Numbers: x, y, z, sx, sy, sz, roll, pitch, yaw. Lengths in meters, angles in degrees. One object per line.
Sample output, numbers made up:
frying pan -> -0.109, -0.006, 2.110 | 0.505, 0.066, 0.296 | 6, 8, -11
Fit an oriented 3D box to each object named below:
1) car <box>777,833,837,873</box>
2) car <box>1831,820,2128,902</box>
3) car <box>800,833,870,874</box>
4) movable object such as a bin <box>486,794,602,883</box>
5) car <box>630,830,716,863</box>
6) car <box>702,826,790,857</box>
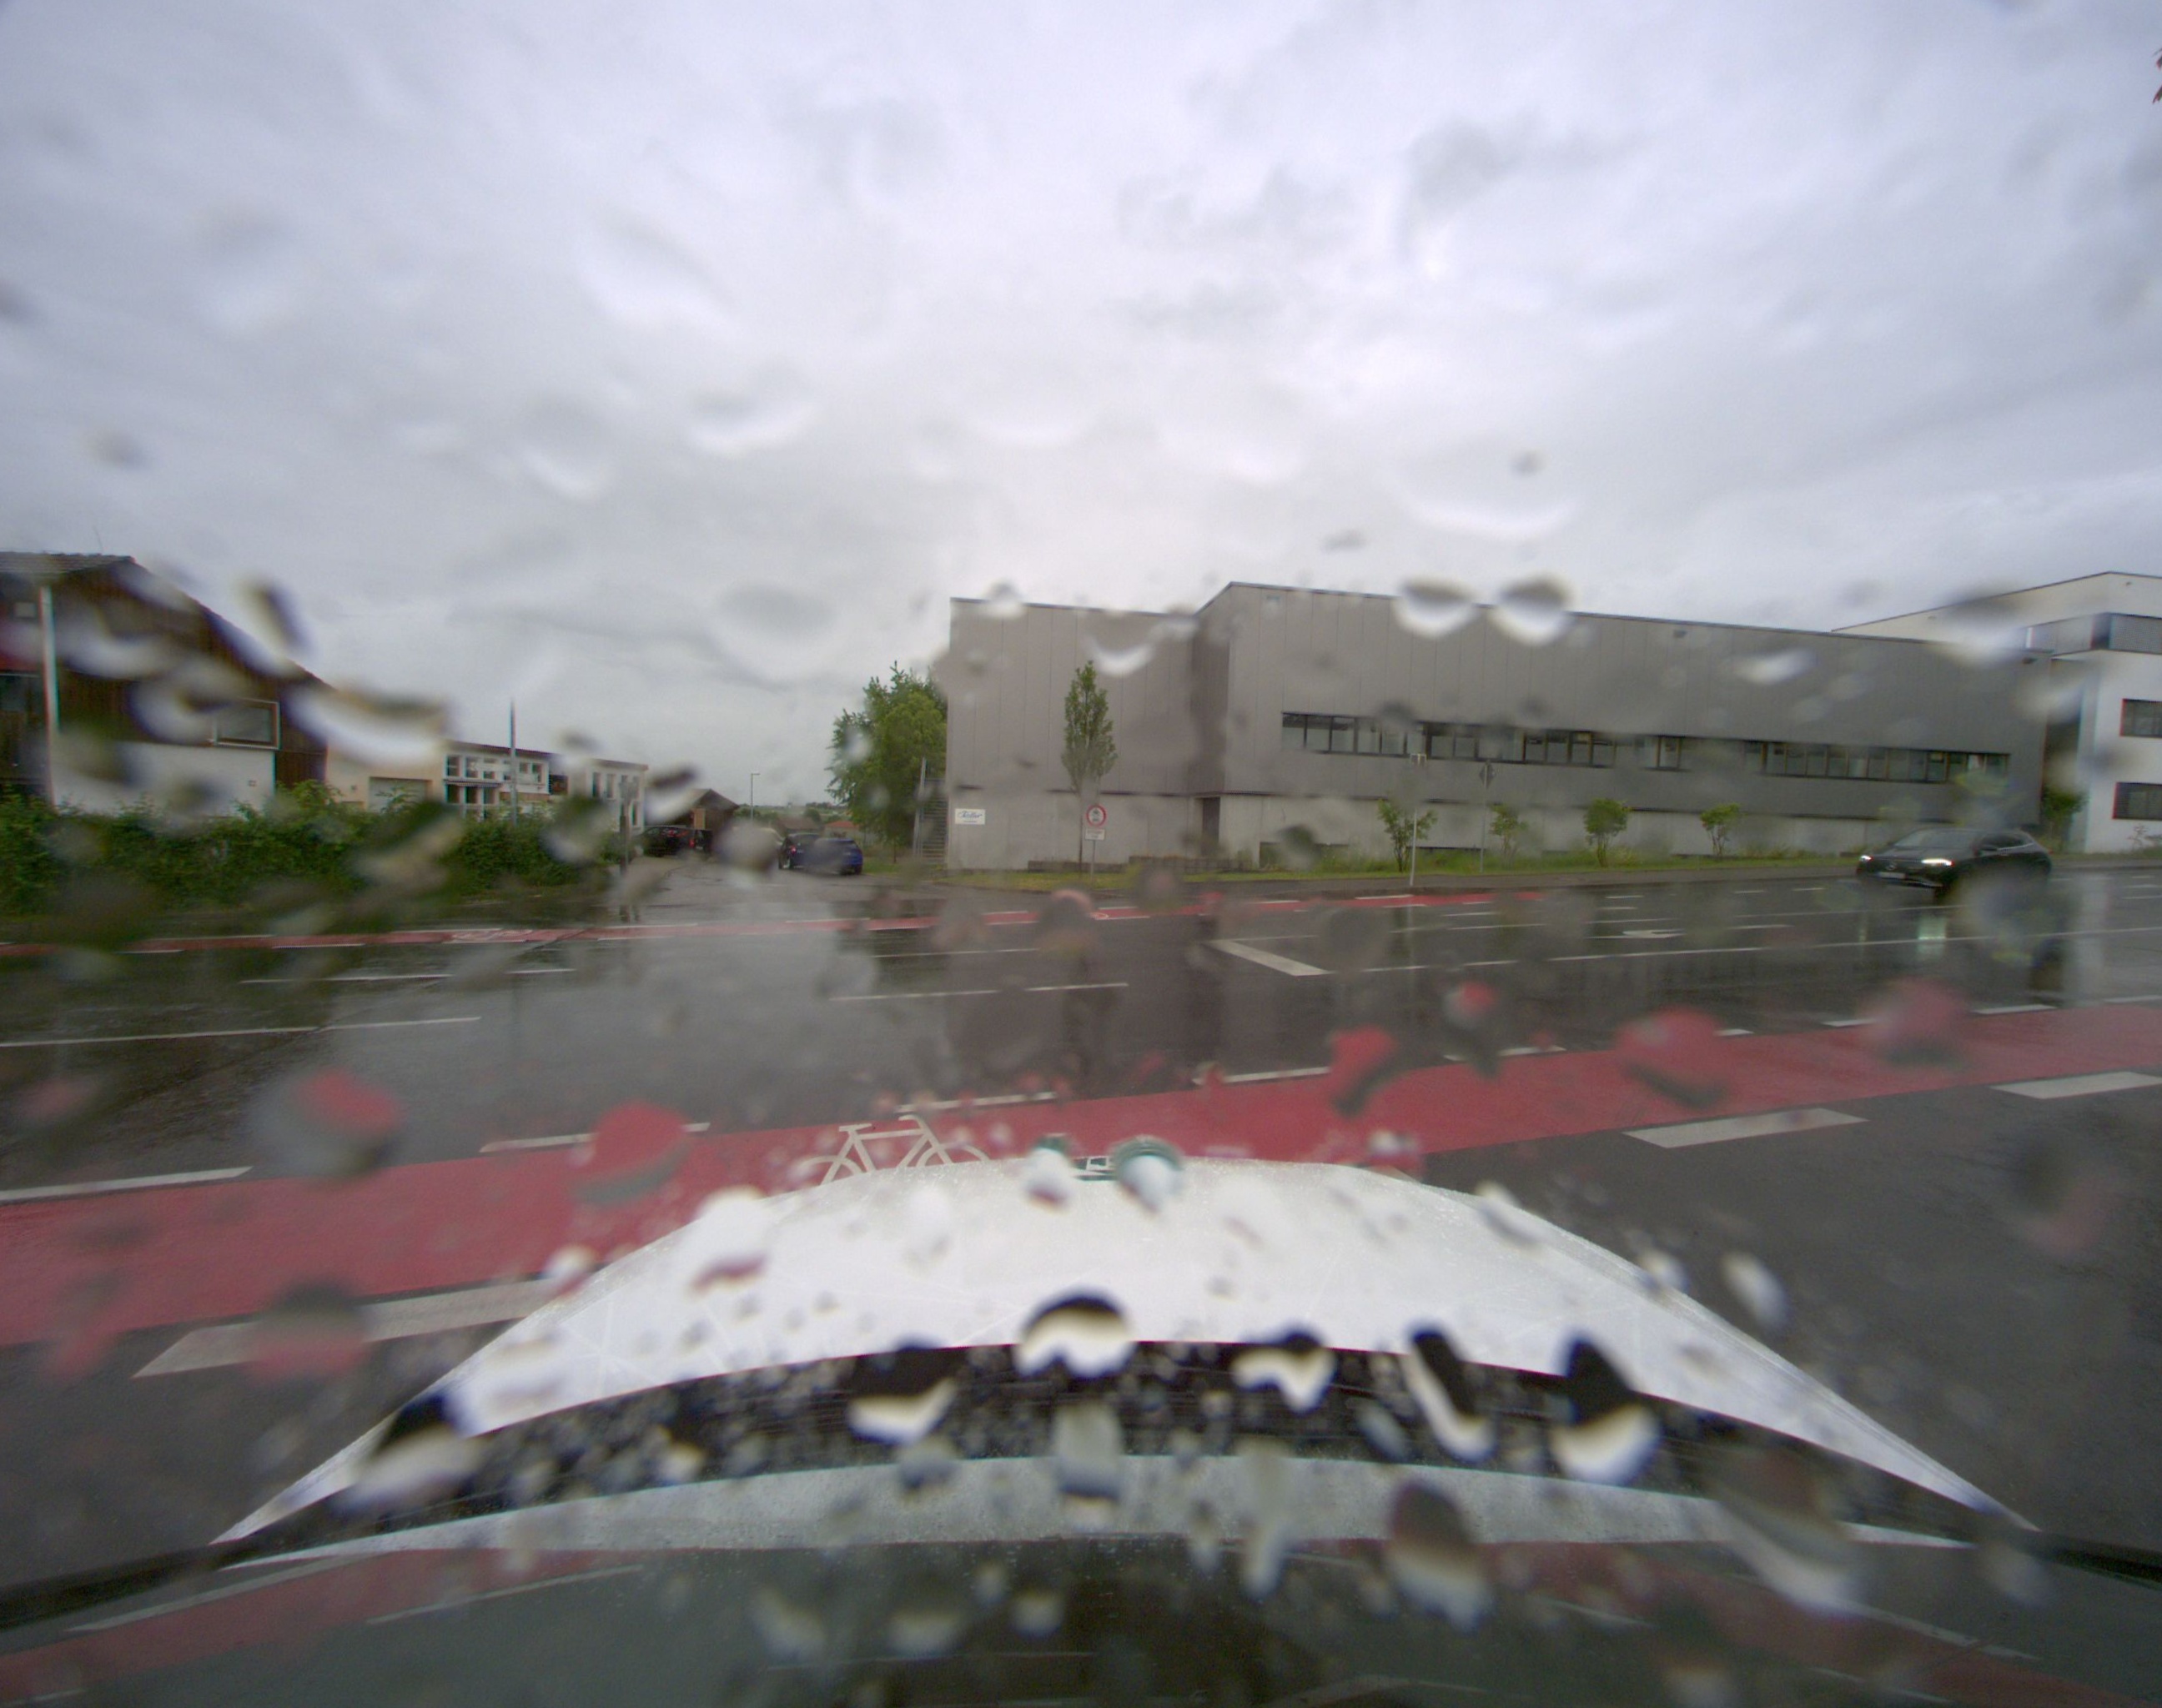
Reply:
car -> -13.276, -0.058, 39.350 | 2.086, 1.835, 4.430 | 0, 0, -28
car -> 22.415, 0.123, 20.332 | 6.872, 1.815, 2.348 | 0, 1, -18
car -> -10.336, -0.040, 34.021 | 1.963, 1.610, 4.405 | 0, 0, -29
movable object such as a bin -> -16.505, -0.465, 25.225 | 1.732, 2.556, 3.329 | 0, 0, -9
car -> -23.797, -0.436, 47.498 | 4.360, 1.905, 2.010 | 0, 0, 19
car -> -26.733, -1.020, 65.163 | 5.995, 2.415, 2.461 | 0, 0, -3
